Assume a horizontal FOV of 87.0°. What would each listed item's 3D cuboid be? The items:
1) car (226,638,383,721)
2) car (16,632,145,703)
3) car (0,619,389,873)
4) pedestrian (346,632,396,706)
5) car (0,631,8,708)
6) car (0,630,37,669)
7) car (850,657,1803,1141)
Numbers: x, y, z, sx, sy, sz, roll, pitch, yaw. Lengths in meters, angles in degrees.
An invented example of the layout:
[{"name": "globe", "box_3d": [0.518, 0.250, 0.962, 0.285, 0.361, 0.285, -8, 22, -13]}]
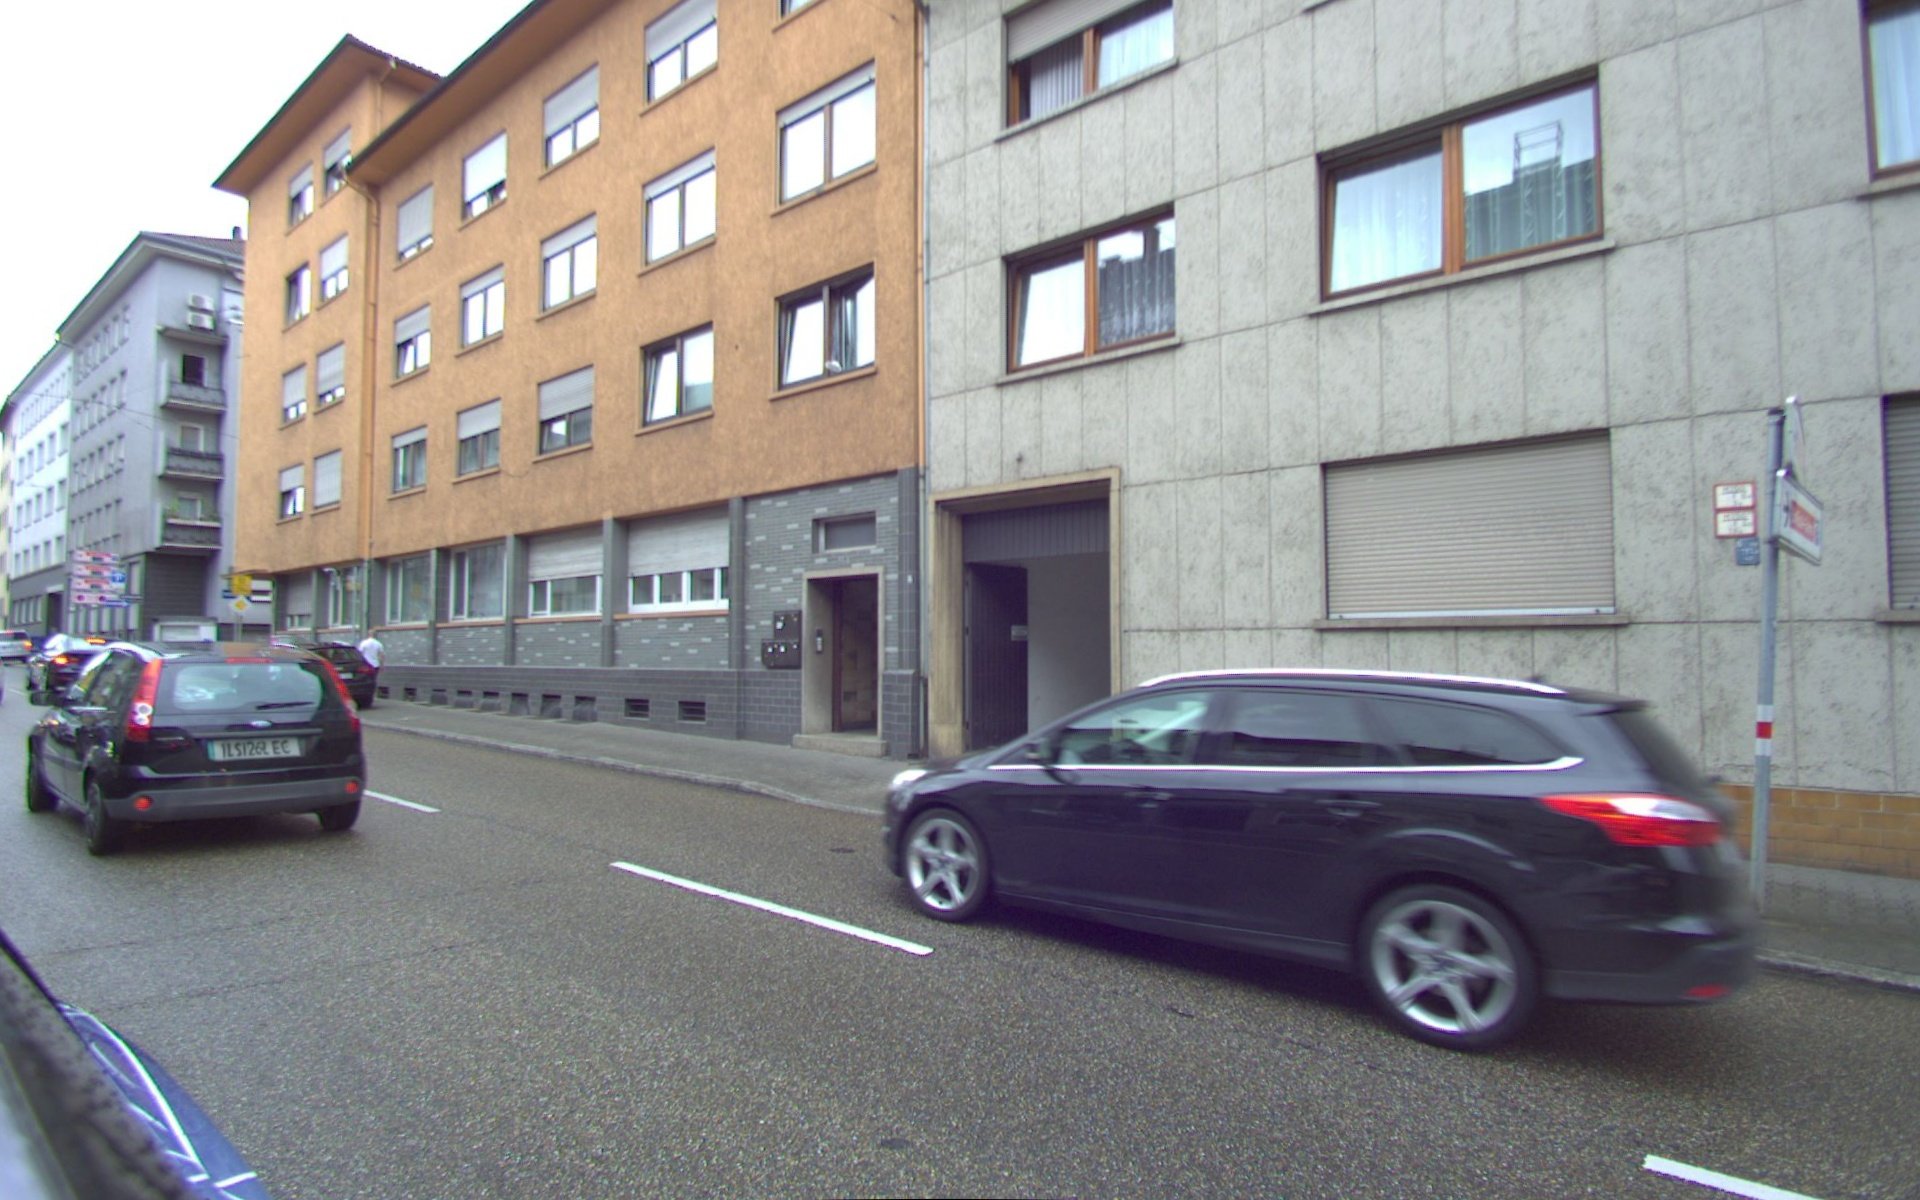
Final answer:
[{"name": "car", "box_3d": [-14.259, 1.640, 21.941, 4.216, 1.485, 1.776, -1, 0, 41]}, {"name": "car", "box_3d": [-22.405, 1.682, 25.731, 4.433, 1.551, 1.677, -1, -6, 40]}, {"name": "car", "box_3d": [-6.422, 0.974, 8.227, 4.213, 1.551, 1.602, -1, -4, 39]}, {"name": "pedestrian", "box_3d": [-13.721, 1.586, 23.564, 0.757, 1.652, 1.024, -1, 0, -44]}, {"name": "car", "box_3d": [-21.509, 1.375, 21.201, 4.049, 1.551, 1.727, -1, -4, 40]}, {"name": "car", "box_3d": [-46.486, 2.371, 49.276, 4.216, 1.735, 1.832, -1, 0, 41]}, {"name": "car", "box_3d": [1.573, 1.098, 5.351, 4.370, 1.484, 1.705, -2, -5, 40]}]
